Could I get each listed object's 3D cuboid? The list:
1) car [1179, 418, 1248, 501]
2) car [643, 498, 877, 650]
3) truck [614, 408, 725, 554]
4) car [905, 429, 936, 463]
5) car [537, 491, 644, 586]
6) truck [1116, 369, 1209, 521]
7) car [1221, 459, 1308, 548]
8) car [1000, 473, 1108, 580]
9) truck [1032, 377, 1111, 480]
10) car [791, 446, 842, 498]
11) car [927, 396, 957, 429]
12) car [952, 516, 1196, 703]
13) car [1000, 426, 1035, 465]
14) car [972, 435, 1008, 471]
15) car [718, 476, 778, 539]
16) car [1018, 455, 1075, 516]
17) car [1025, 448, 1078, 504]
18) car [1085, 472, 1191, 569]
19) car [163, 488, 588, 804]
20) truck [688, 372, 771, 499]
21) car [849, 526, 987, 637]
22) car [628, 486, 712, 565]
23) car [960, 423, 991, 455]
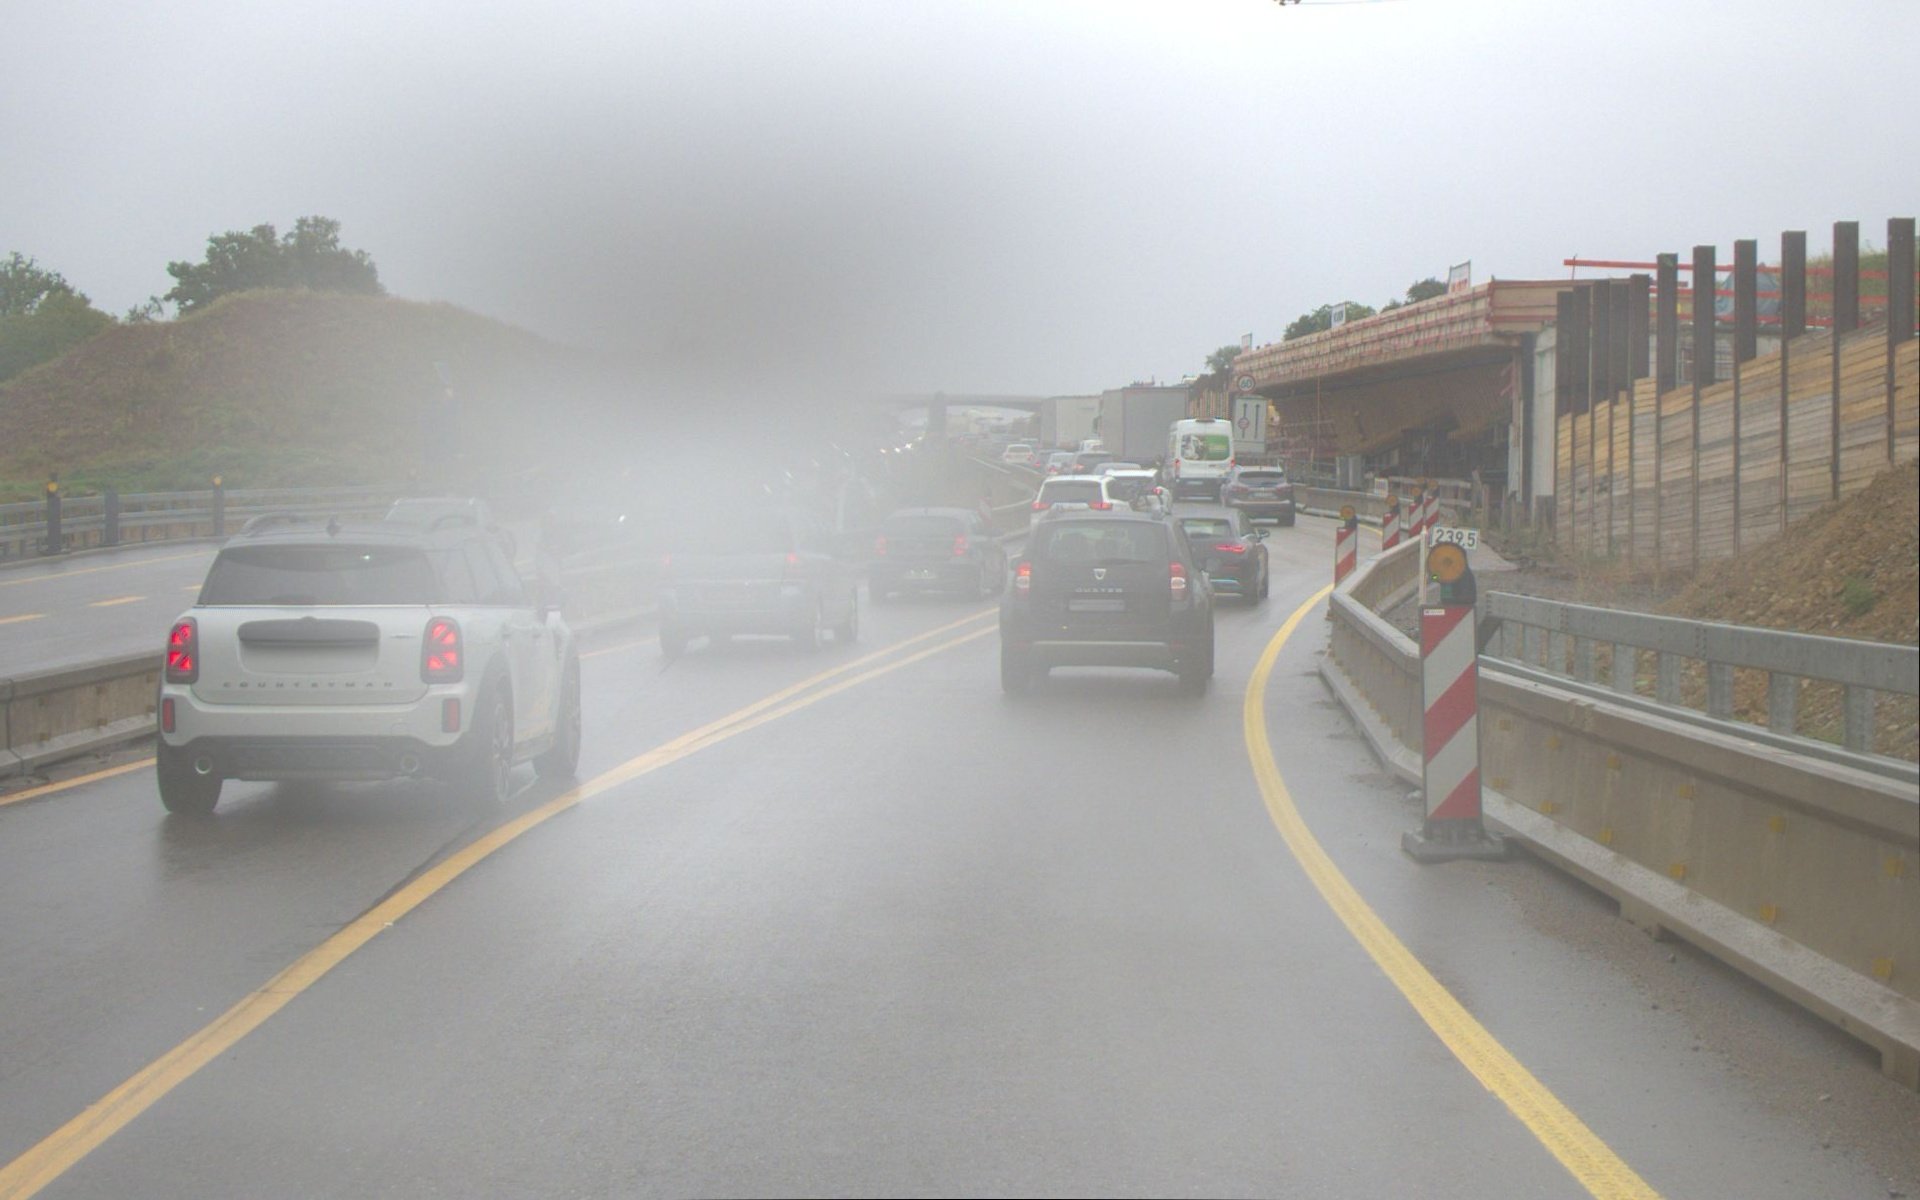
[{"bbox_3d":[8.461,-4.689,115.252,1.993,2.476,4.981,0,-1,1],"label":"car"},{"bbox_3d":[-2.179,-0.245,38.580,1.994,1.595,4.139,0,-1,6],"label":"car"},{"bbox_3d":[-10.093,-4.085,120.365,3.083,4.903,8.564,1,1,0],"label":"truck"},{"bbox_3d":[-2.602,-10.217,227.713,1.993,2.007,4.000,0,-1,-1],"label":"car"},{"bbox_3d":[-7.643,-1.249,71.401,1.785,1.804,4.499,0,-1,-1],"label":"car"},{"bbox_3d":[8.079,-6.048,136.240,3.102,5.408,9.440,0,-1,7],"label":"truck"},{"bbox_3d":[8.010,-2.509,90.767,1.993,2.155,4.140,0,-1,1],"label":"car"},{"bbox_3d":[1.890,-1.470,70.148,1.993,2.007,3.893,0,-1,-2],"label":"car"},{"bbox_3d":[6.309,-9.696,196.564,3.803,5.026,12.921,0,-1,-1],"label":"truck"},{"bbox_3d":[-6.943,-6.182,166.659,2.238,2.351,4.877,1,1,0],"label":"car"},{"bbox_3d":[-1.270,-13.189,241.767,1.993,2.007,4.000,0,-1,-1],"label":"car"},{"bbox_3d":[0.967,0.118,31.360,2.081,1.595,4.140,0,-1,0],"label":"car"},{"bbox_3d":[3.100,-8.364,186.411,1.849,1.887,4.021,0,-1,0],"label":"car"},{"bbox_3d":[1.768,-8.747,204.715,1.993,2.007,4.000,-1,1,-1],"label":"car"},{"bbox_3d":[-6.586,-2.851,106.871,1.623,1.804,3.637,0,-1,0],"label":"car"},{"bbox_3d":[3.395,-4.449,134.159,1.994,2.155,4.139,0,-1,4],"label":"car"},{"bbox_3d":[3.889,-5.267,146.651,1.993,2.155,4.140,0,-1,-2],"label":"car"},{"bbox_3d":[4.329,-1.885,83.102,1.994,2.155,4.138,0,-1,11],"label":"car"},{"bbox_3d":[-3.193,0.251,19.581,1.816,1.595,4.308,0,0,-2],"label":"car"},{"bbox_3d":[-10.401,-7.377,155.913,3.141,5.399,8.523,1,1,0],"label":"truck"},{"bbox_3d":[-0.683,-0.255,52.746,1.993,1.595,4.140,0,-1,-2],"label":"car"},{"bbox_3d":[-7.287,-1.859,86.844,1.785,1.804,4.499,0,-1,-1],"label":"car"},{"bbox_3d":[1.047,-10.890,232.170,1.993,2.007,4.000,-1,1,-1],"label":"car"}]
